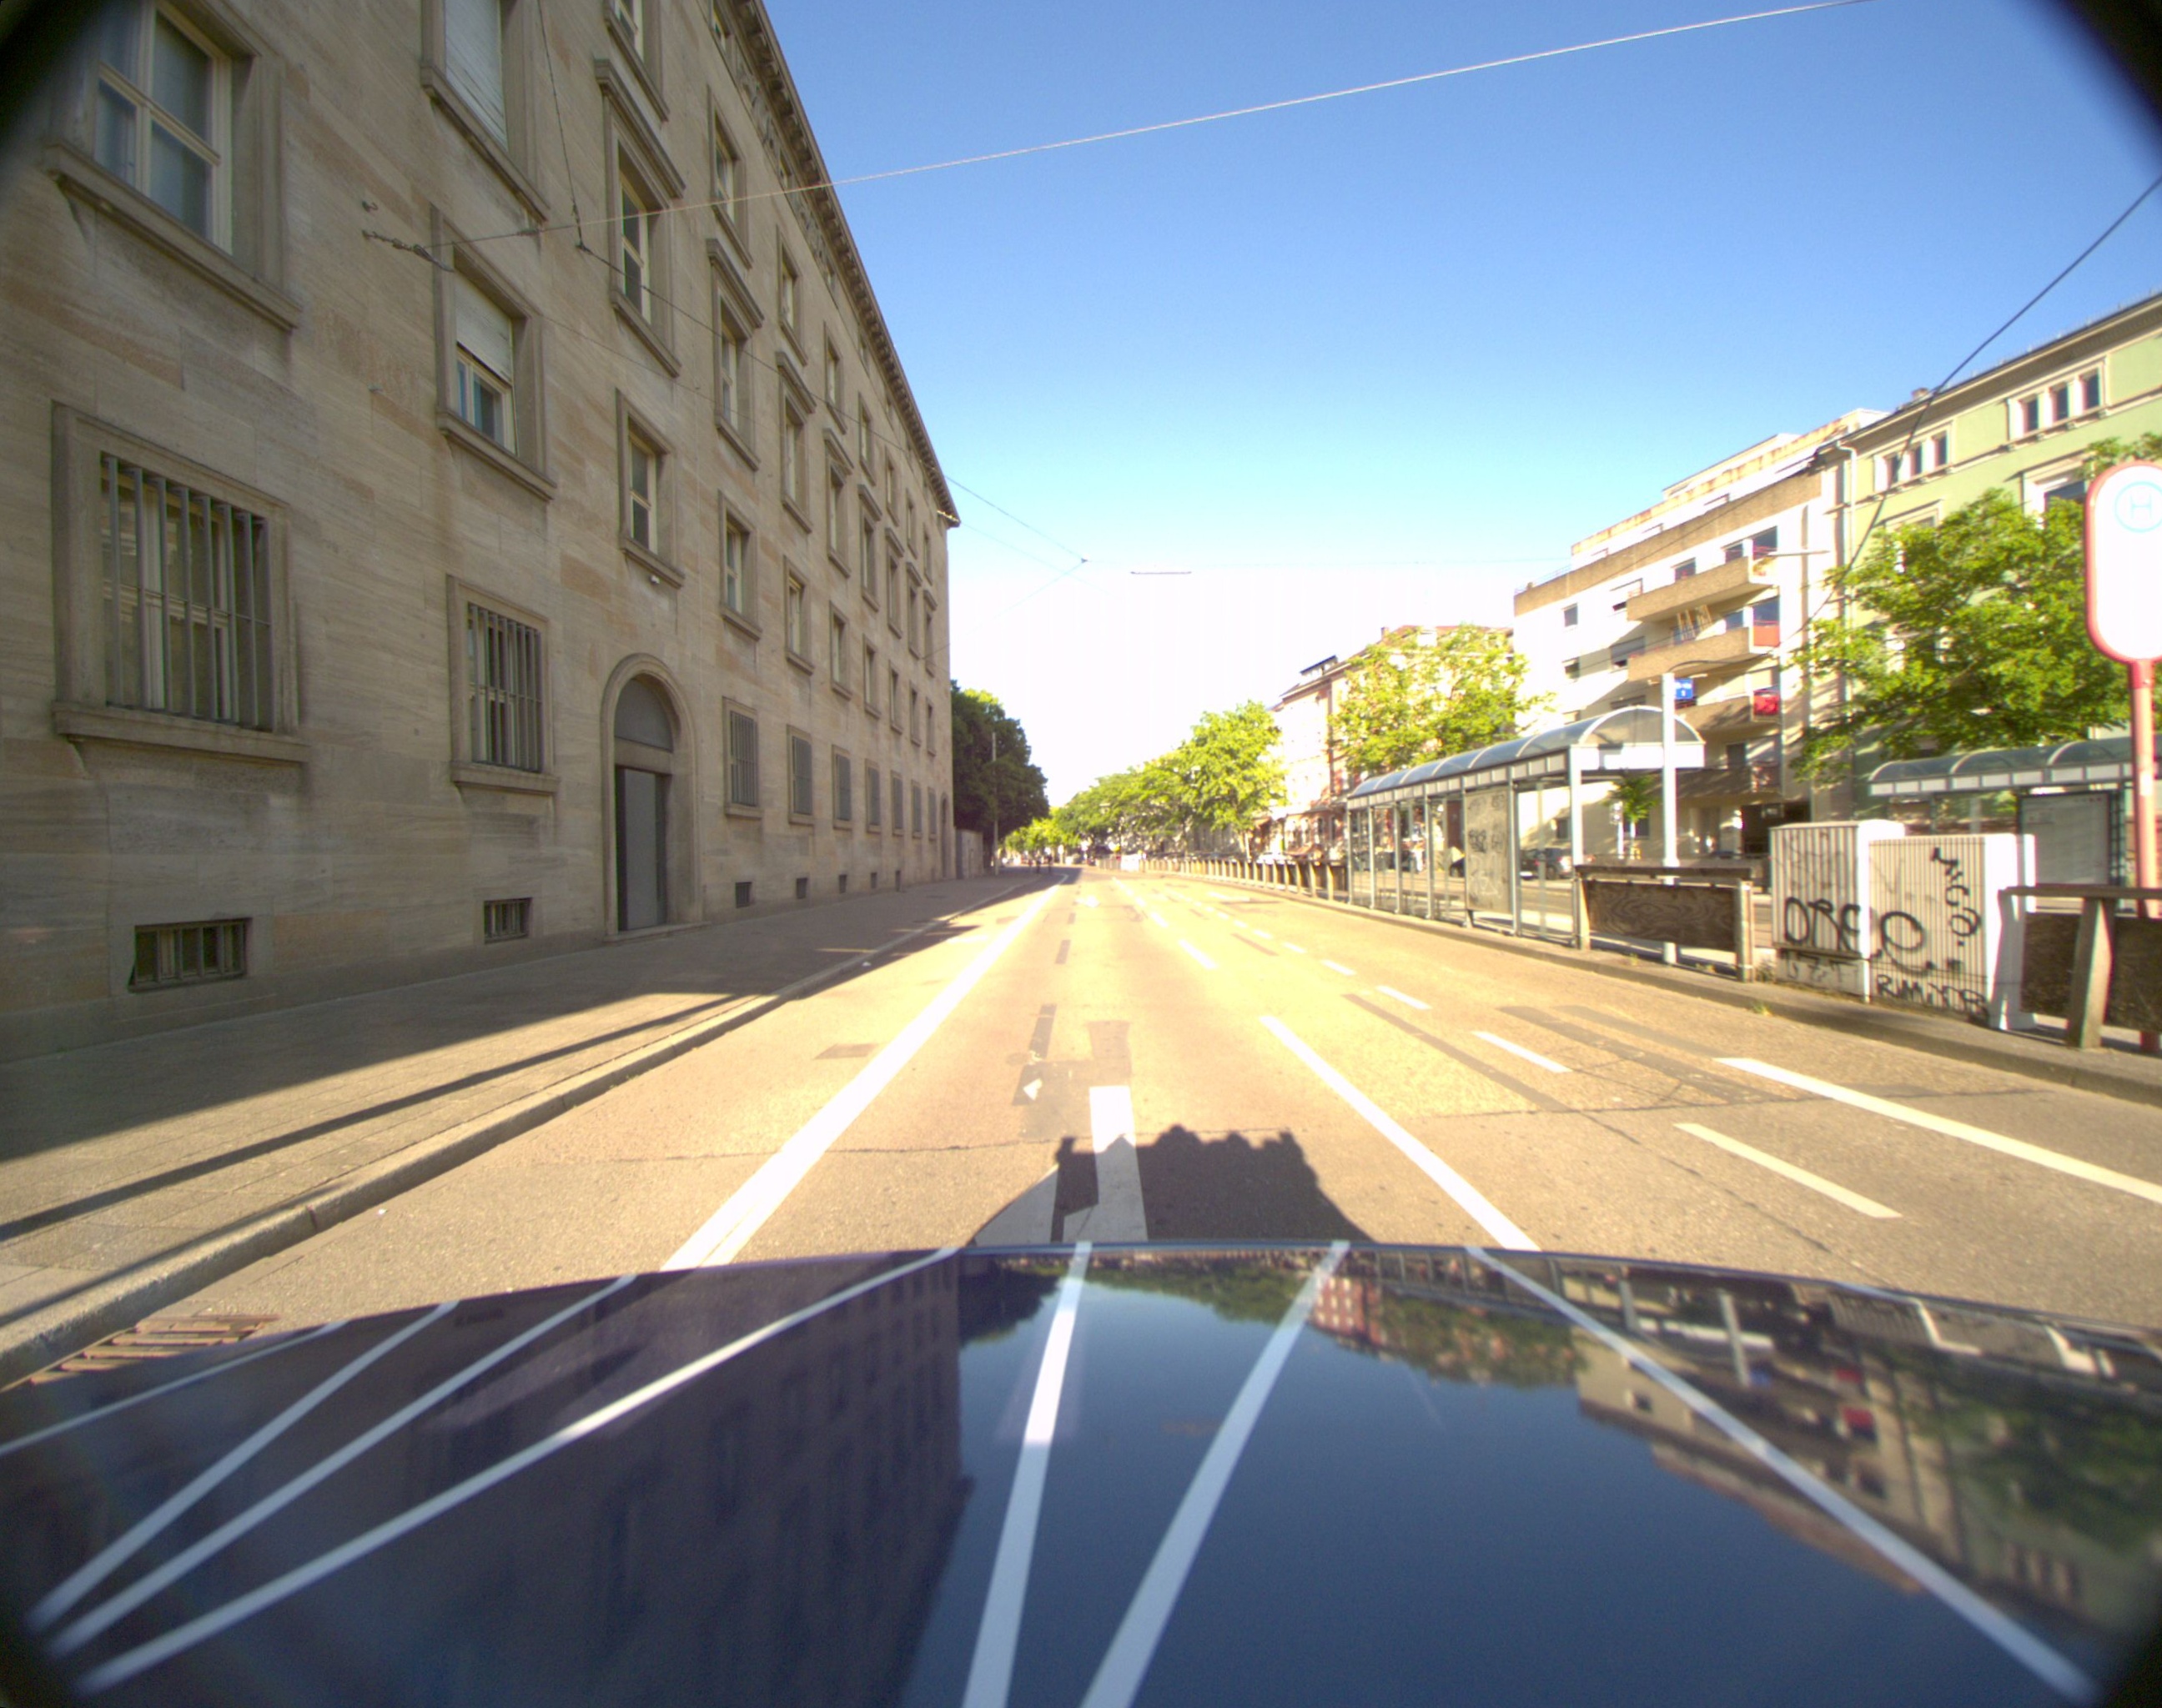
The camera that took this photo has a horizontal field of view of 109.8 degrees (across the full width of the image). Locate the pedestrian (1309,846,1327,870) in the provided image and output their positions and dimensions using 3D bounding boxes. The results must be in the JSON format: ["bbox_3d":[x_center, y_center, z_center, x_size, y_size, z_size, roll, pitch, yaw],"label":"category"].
[{"bbox_3d":[16.652,0.268,53.387,0.868,1.619,0.891,-1,1,-10],"label":"pedestrian"}]

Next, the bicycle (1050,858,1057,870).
[{"bbox_3d":[-2.636,0.955,72.483,0.625,1.167,1.566,0,0,1],"label":"bicycle"}]

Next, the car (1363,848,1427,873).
[{"bbox_3d":[18.419,0.378,44.709,1.609,1.388,3.997,-1,0,-9],"label":"car"}]

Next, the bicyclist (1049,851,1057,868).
[{"bbox_3d":[-2.638,0.504,72.398,0.728,1.570,0.775,0,1,1],"label":"bicyclist"}]

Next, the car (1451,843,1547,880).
[{"bbox_3d":[18.245,0.305,33.349,1.648,1.480,3.997,-1,0,-7],"label":"car"}]

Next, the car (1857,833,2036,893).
[{"bbox_3d":[24.697,0.222,21.719,4.002,1.573,1.761,-1,0,-14],"label":"car"}]

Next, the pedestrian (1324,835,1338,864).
[{"bbox_3d":[19.467,-0.332,59.181,0.812,2.194,0.756,-1,1,-4],"label":"pedestrian"}]

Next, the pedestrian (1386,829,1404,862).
[{"bbox_3d":[21.270,-0.558,51.512,0.813,2.194,0.756,-1,1,-10],"label":"pedestrian"}]

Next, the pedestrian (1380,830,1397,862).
[{"bbox_3d":[21.193,-0.565,52.351,0.813,2.194,0.756,-1,1,-10],"label":"pedestrian"}]

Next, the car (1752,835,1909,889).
[{"bbox_3d":[23.898,0.225,24.260,4.002,1.573,1.761,-1,0,-14],"label":"car"}]

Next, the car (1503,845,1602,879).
[{"bbox_3d":[20.924,0.321,33.880,1.654,1.419,3.737,-1,0,-11],"label":"car"}]

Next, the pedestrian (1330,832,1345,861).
[{"bbox_3d":[19.416,-0.555,57.596,0.813,2.194,0.756,-1,1,-10],"label":"pedestrian"}]

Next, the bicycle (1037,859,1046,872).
[{"bbox_3d":[-3.770,1.072,72.464,0.625,1.214,1.659,-3,1,1],"label":"bicycle"}]

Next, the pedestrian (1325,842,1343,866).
[{"bbox_3d":[18.460,0.000,55.405,0.855,1.710,1.019,-1,1,-9],"label":"pedestrian"}]

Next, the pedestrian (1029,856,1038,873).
[{"bbox_3d":[-3.670,0.798,58.841,0.548,1.327,0.587,-1,1,7],"label":"pedestrian"}]

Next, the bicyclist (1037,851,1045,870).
[{"bbox_3d":[-3.797,0.606,72.402,0.625,1.729,0.688,-3,1,1],"label":"bicyclist"}]

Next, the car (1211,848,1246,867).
[{"bbox_3d":[11.488,0.241,59.452,1.670,1.400,3.877,0,0,-5],"label":"car"}]

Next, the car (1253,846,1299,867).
[{"bbox_3d":[16.350,0.185,63.561,4.134,1.698,1.848,-1,1,-45],"label":"car"}]
